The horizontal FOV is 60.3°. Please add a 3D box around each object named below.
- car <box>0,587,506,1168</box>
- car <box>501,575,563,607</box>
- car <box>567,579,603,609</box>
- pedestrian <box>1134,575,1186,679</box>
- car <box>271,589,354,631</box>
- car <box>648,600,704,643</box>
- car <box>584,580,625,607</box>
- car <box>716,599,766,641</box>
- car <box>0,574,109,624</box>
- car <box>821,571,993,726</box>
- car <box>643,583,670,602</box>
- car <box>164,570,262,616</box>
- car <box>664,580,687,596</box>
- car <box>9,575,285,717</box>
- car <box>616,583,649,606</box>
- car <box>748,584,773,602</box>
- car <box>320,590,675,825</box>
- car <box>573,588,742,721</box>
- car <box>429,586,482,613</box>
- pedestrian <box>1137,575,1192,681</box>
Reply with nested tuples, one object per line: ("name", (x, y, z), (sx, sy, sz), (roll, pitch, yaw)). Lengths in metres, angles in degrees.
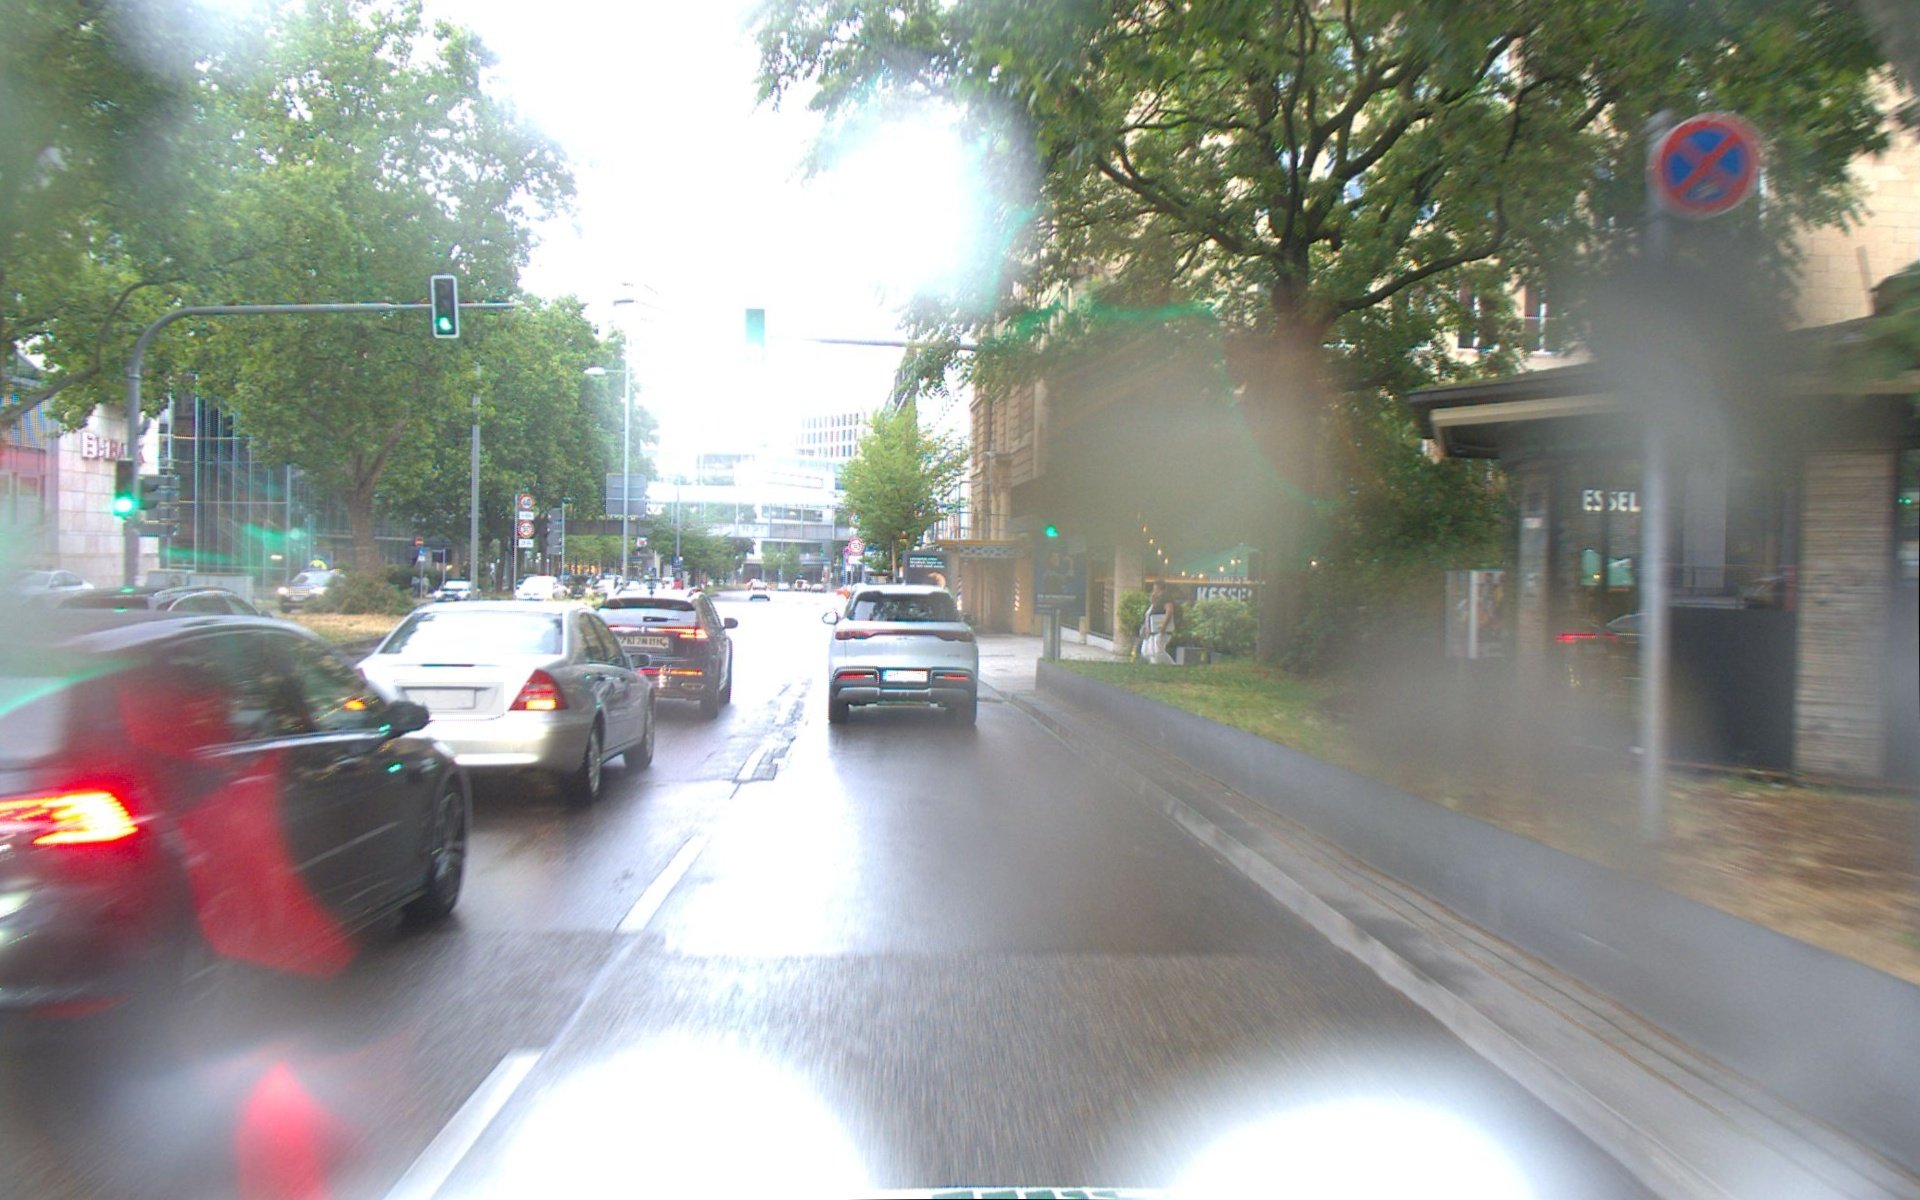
("car", (-3.073, 0.707, 6.292), (1.657, 1.488, 4.128), (-1, 0, -2))
("car", (-20.547, -0.439, 79.561), (2.117, 1.488, 4.341), (-1, 0, -5))
("car", (-25.839, -0.425, 114.096), (1.759, 1.942, 4.496), (-1, 0, -5))
("pedestrian", (3.568, 0.481, 29.564), (0.841, 1.811, 0.718), (1, 0, 1))
("car", (-25.119, 0.366, 64.307), (1.759, 1.536, 4.496), (-1, 0, -5))
("car", (-10.701, 0.787, 62.531), (1.658, 1.488, 4.341), (-1, 0, -5))
("car", (-21.272, -0.416, 99.079), (1.759, 1.536, 4.496), (-1, 0, -5))
("car", (-8.272, 0.719, 62.731), (1.658, 1.488, 4.341), (-1, 0, -5))
("car", (-27.807, -0.035, 50.167), (1.653, 1.427, 4.240), (1, 0, 2))
("car", (-0.670, 0.548, 20.994), (1.908, 1.695, 4.344), (2, 0, -2))
("car", (-25.509, -0.632, 139.258), (1.759, 1.536, 4.341), (-1, 0, -5))
("car", (-28.513, -0.242, 63.242), (1.653, 1.671, 4.240), (1, 0, 2))
("car", (-27.691, -1.160, 161.056), (1.759, 1.536, 4.341), (-1, 0, -5))
("car", (-10.321, 0.509, 21.332), (1.665, 1.648, 3.999), (1, 1, -2))
("car", (-23.291, -0.411, 117.637), (1.759, 1.536, 4.496), (-1, 0, -5))
("car", (-17.023, -0.599, 141.121), (1.940, 1.488, 4.341), (-1, 0, -5))
("car", (-3.366, 0.680, 12.884), (1.657, 1.488, 4.344), (-1, 0, -2))
("car", (-3.735, 0.609, 21.041), (1.658, 1.488, 4.341), (-1, 0, -5))
("car", (-27.163, -0.018, 89.184), (1.812, 1.390, 4.235), (1, 0, -5))
("pedestrian", (3.555, 0.479, 28.810), (0.841, 1.811, 0.718), (1, 0, 1))
